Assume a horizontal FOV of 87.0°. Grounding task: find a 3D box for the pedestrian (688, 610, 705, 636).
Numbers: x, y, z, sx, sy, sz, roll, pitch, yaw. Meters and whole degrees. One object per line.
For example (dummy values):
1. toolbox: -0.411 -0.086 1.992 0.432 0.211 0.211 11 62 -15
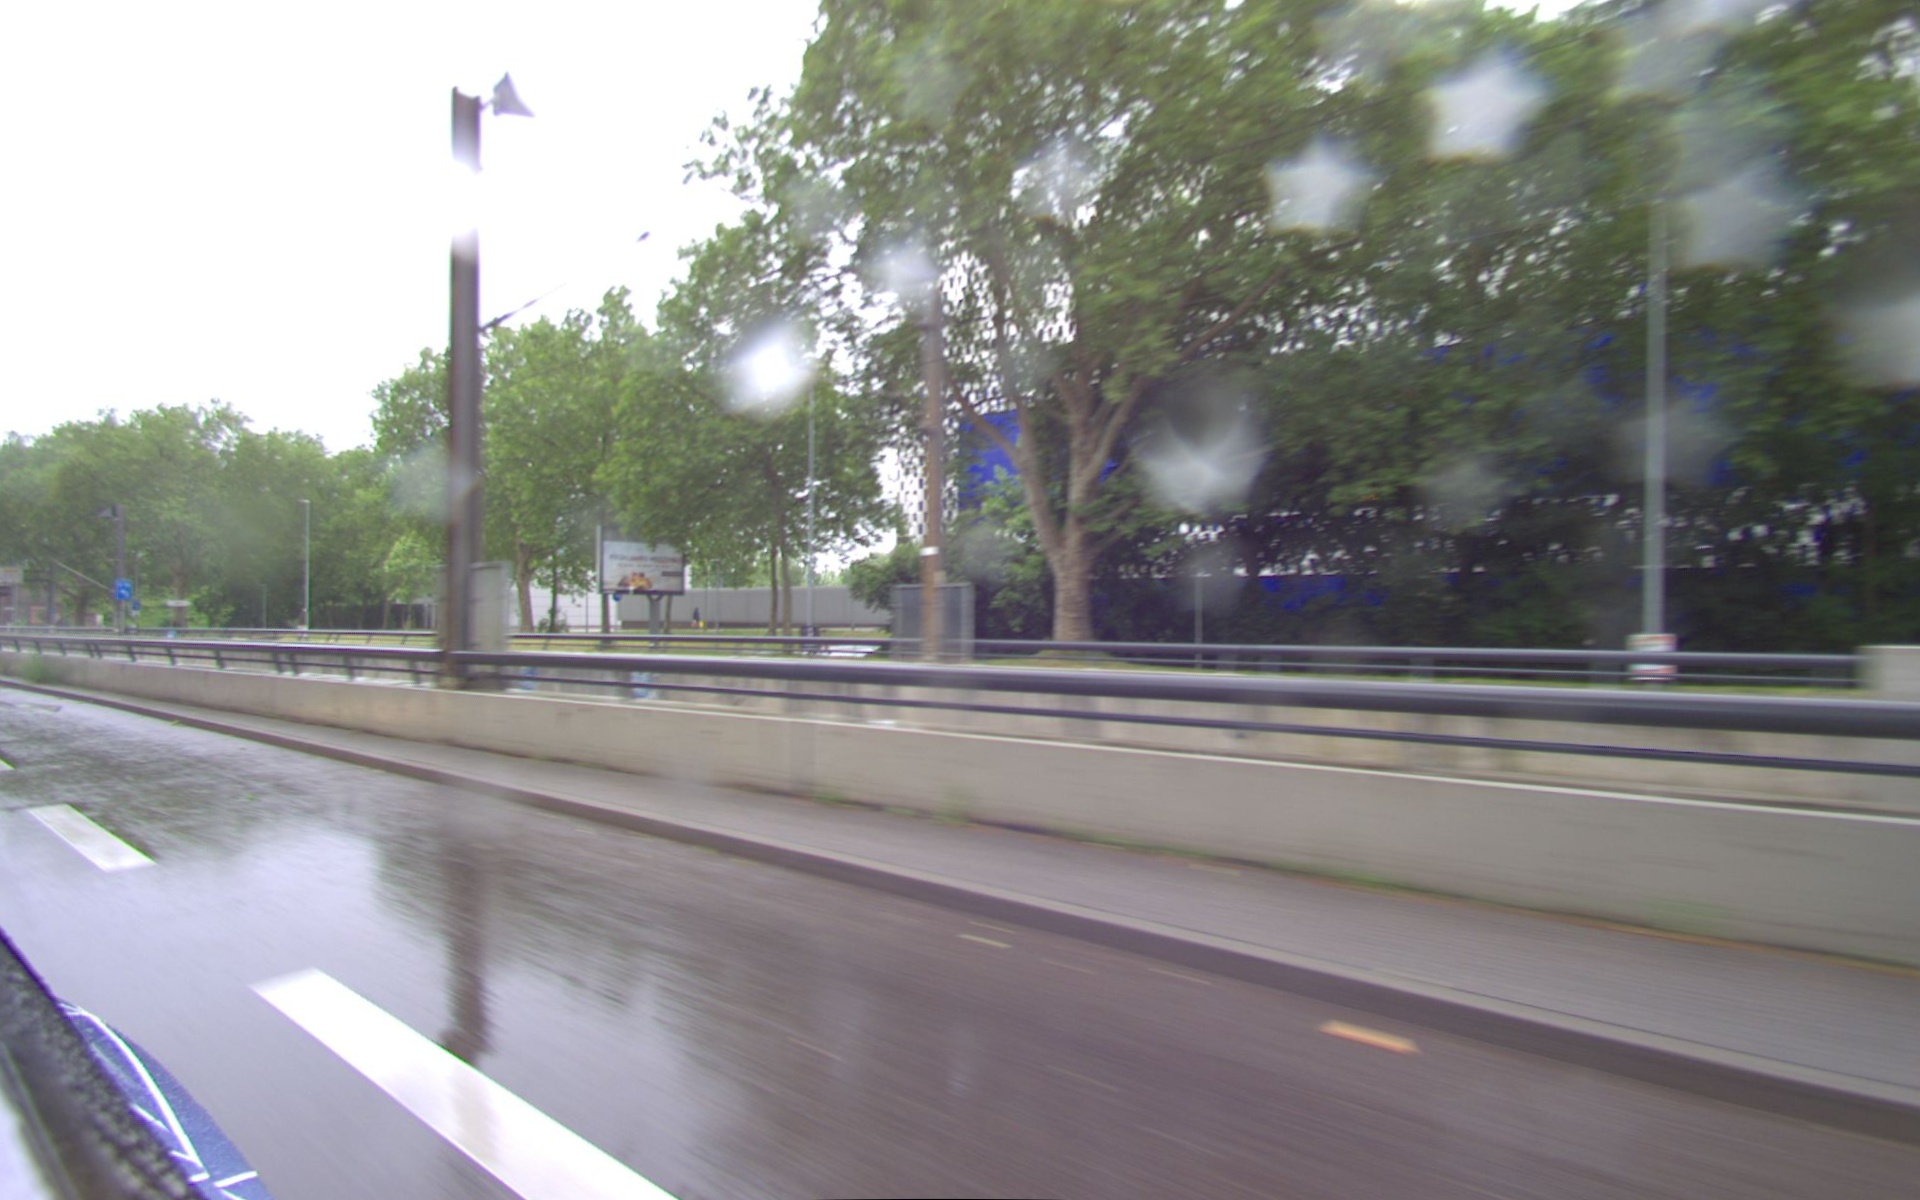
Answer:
1. pedestrian: -20.839 1.798 80.123 0.789 2.029 0.991 -1 0 40
